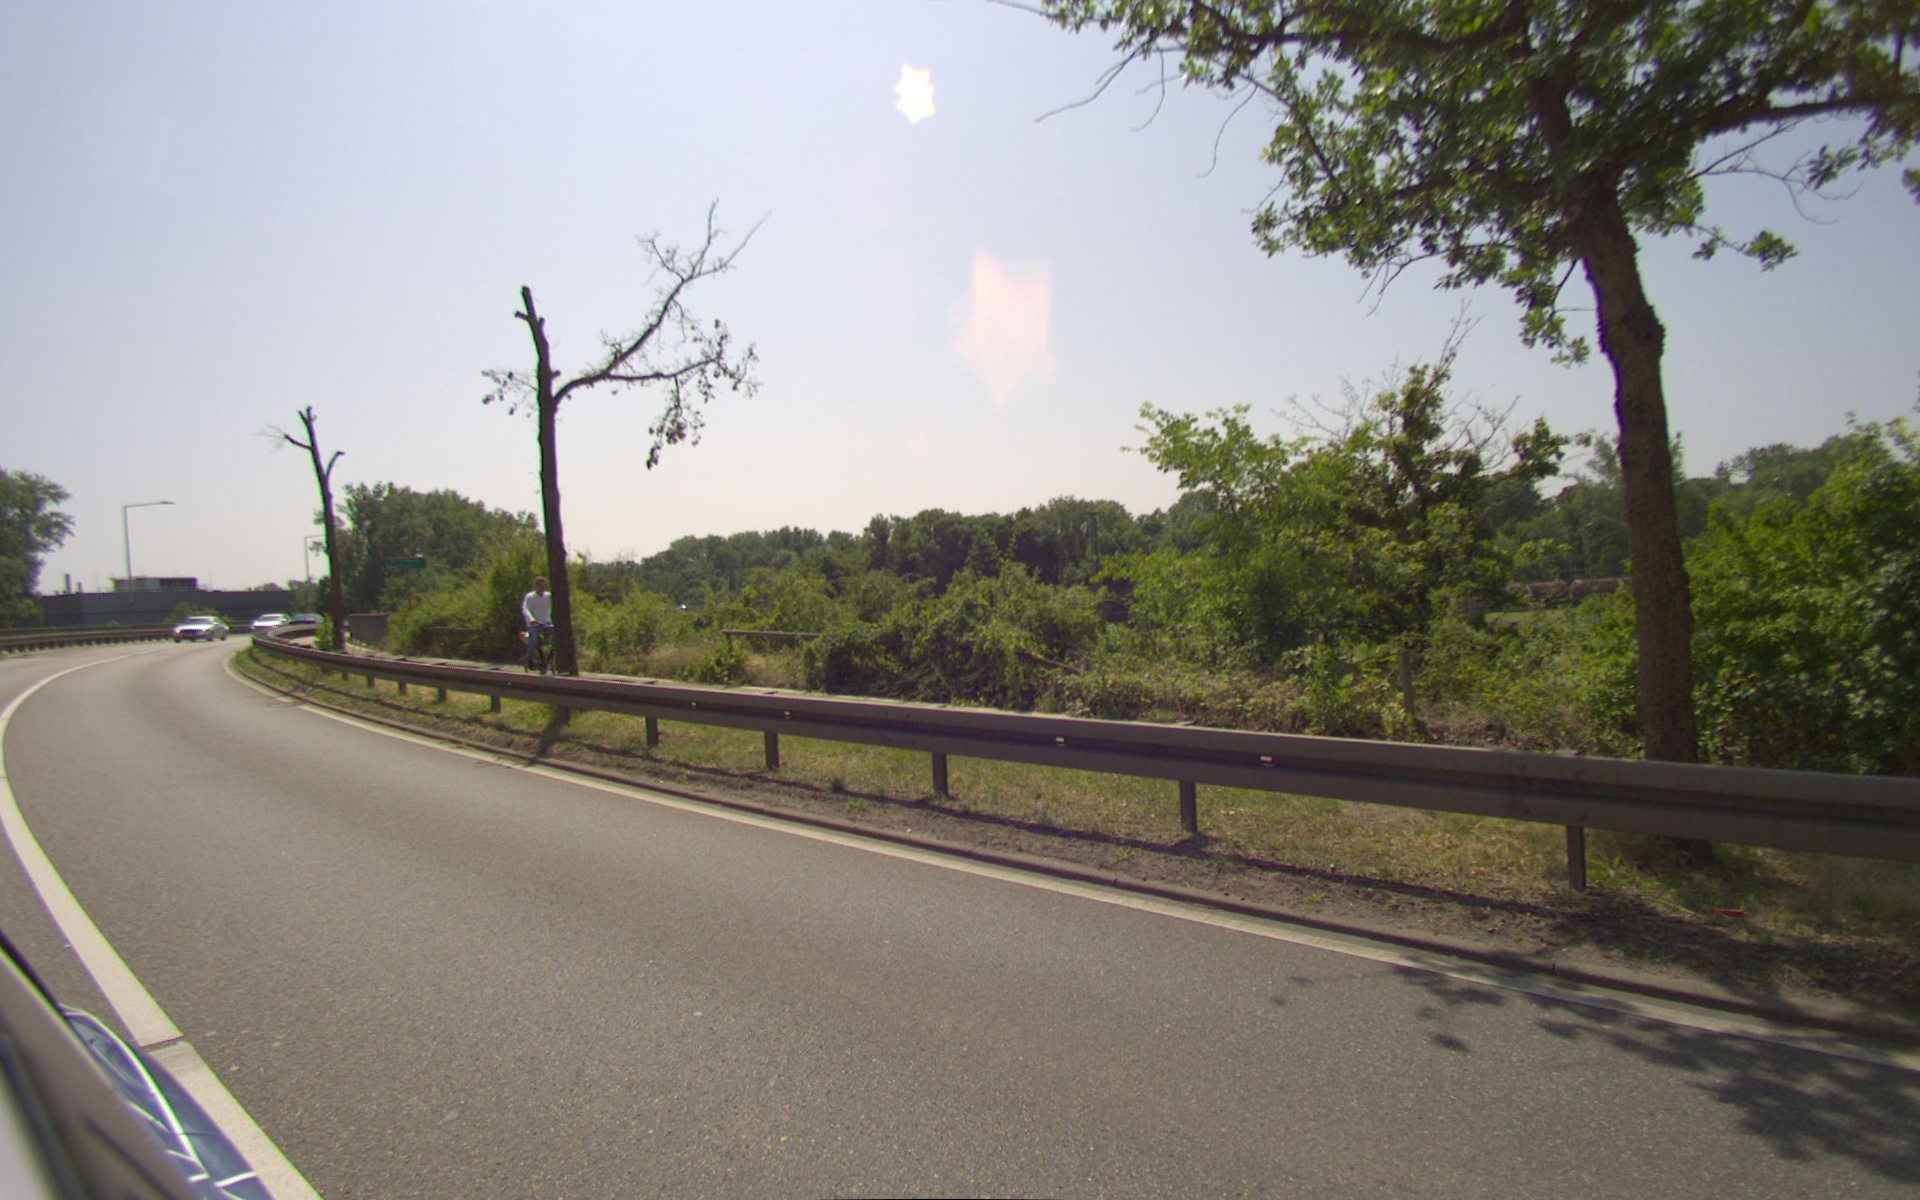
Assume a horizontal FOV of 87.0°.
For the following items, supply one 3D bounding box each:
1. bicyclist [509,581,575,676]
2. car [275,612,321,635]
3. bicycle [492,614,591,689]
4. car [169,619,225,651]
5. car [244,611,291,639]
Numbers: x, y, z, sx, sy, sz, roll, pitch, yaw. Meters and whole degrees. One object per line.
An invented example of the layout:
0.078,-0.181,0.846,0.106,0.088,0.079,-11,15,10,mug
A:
-6.701,0.455,16.224,0.721,1.477,0.824,1,-2,-44,bicyclist
-42.596,1.485,65.193,1.778,1.427,4.372,-1,0,-24,car
-6.749,0.795,16.259,2.047,1.125,0.726,-1,-2,45,bicycle
-42.854,1.937,56.929,1.734,1.510,4.247,-1,2,-27,car
-48.693,1.759,71.256,1.769,1.796,4.307,-1,1,-22,car
